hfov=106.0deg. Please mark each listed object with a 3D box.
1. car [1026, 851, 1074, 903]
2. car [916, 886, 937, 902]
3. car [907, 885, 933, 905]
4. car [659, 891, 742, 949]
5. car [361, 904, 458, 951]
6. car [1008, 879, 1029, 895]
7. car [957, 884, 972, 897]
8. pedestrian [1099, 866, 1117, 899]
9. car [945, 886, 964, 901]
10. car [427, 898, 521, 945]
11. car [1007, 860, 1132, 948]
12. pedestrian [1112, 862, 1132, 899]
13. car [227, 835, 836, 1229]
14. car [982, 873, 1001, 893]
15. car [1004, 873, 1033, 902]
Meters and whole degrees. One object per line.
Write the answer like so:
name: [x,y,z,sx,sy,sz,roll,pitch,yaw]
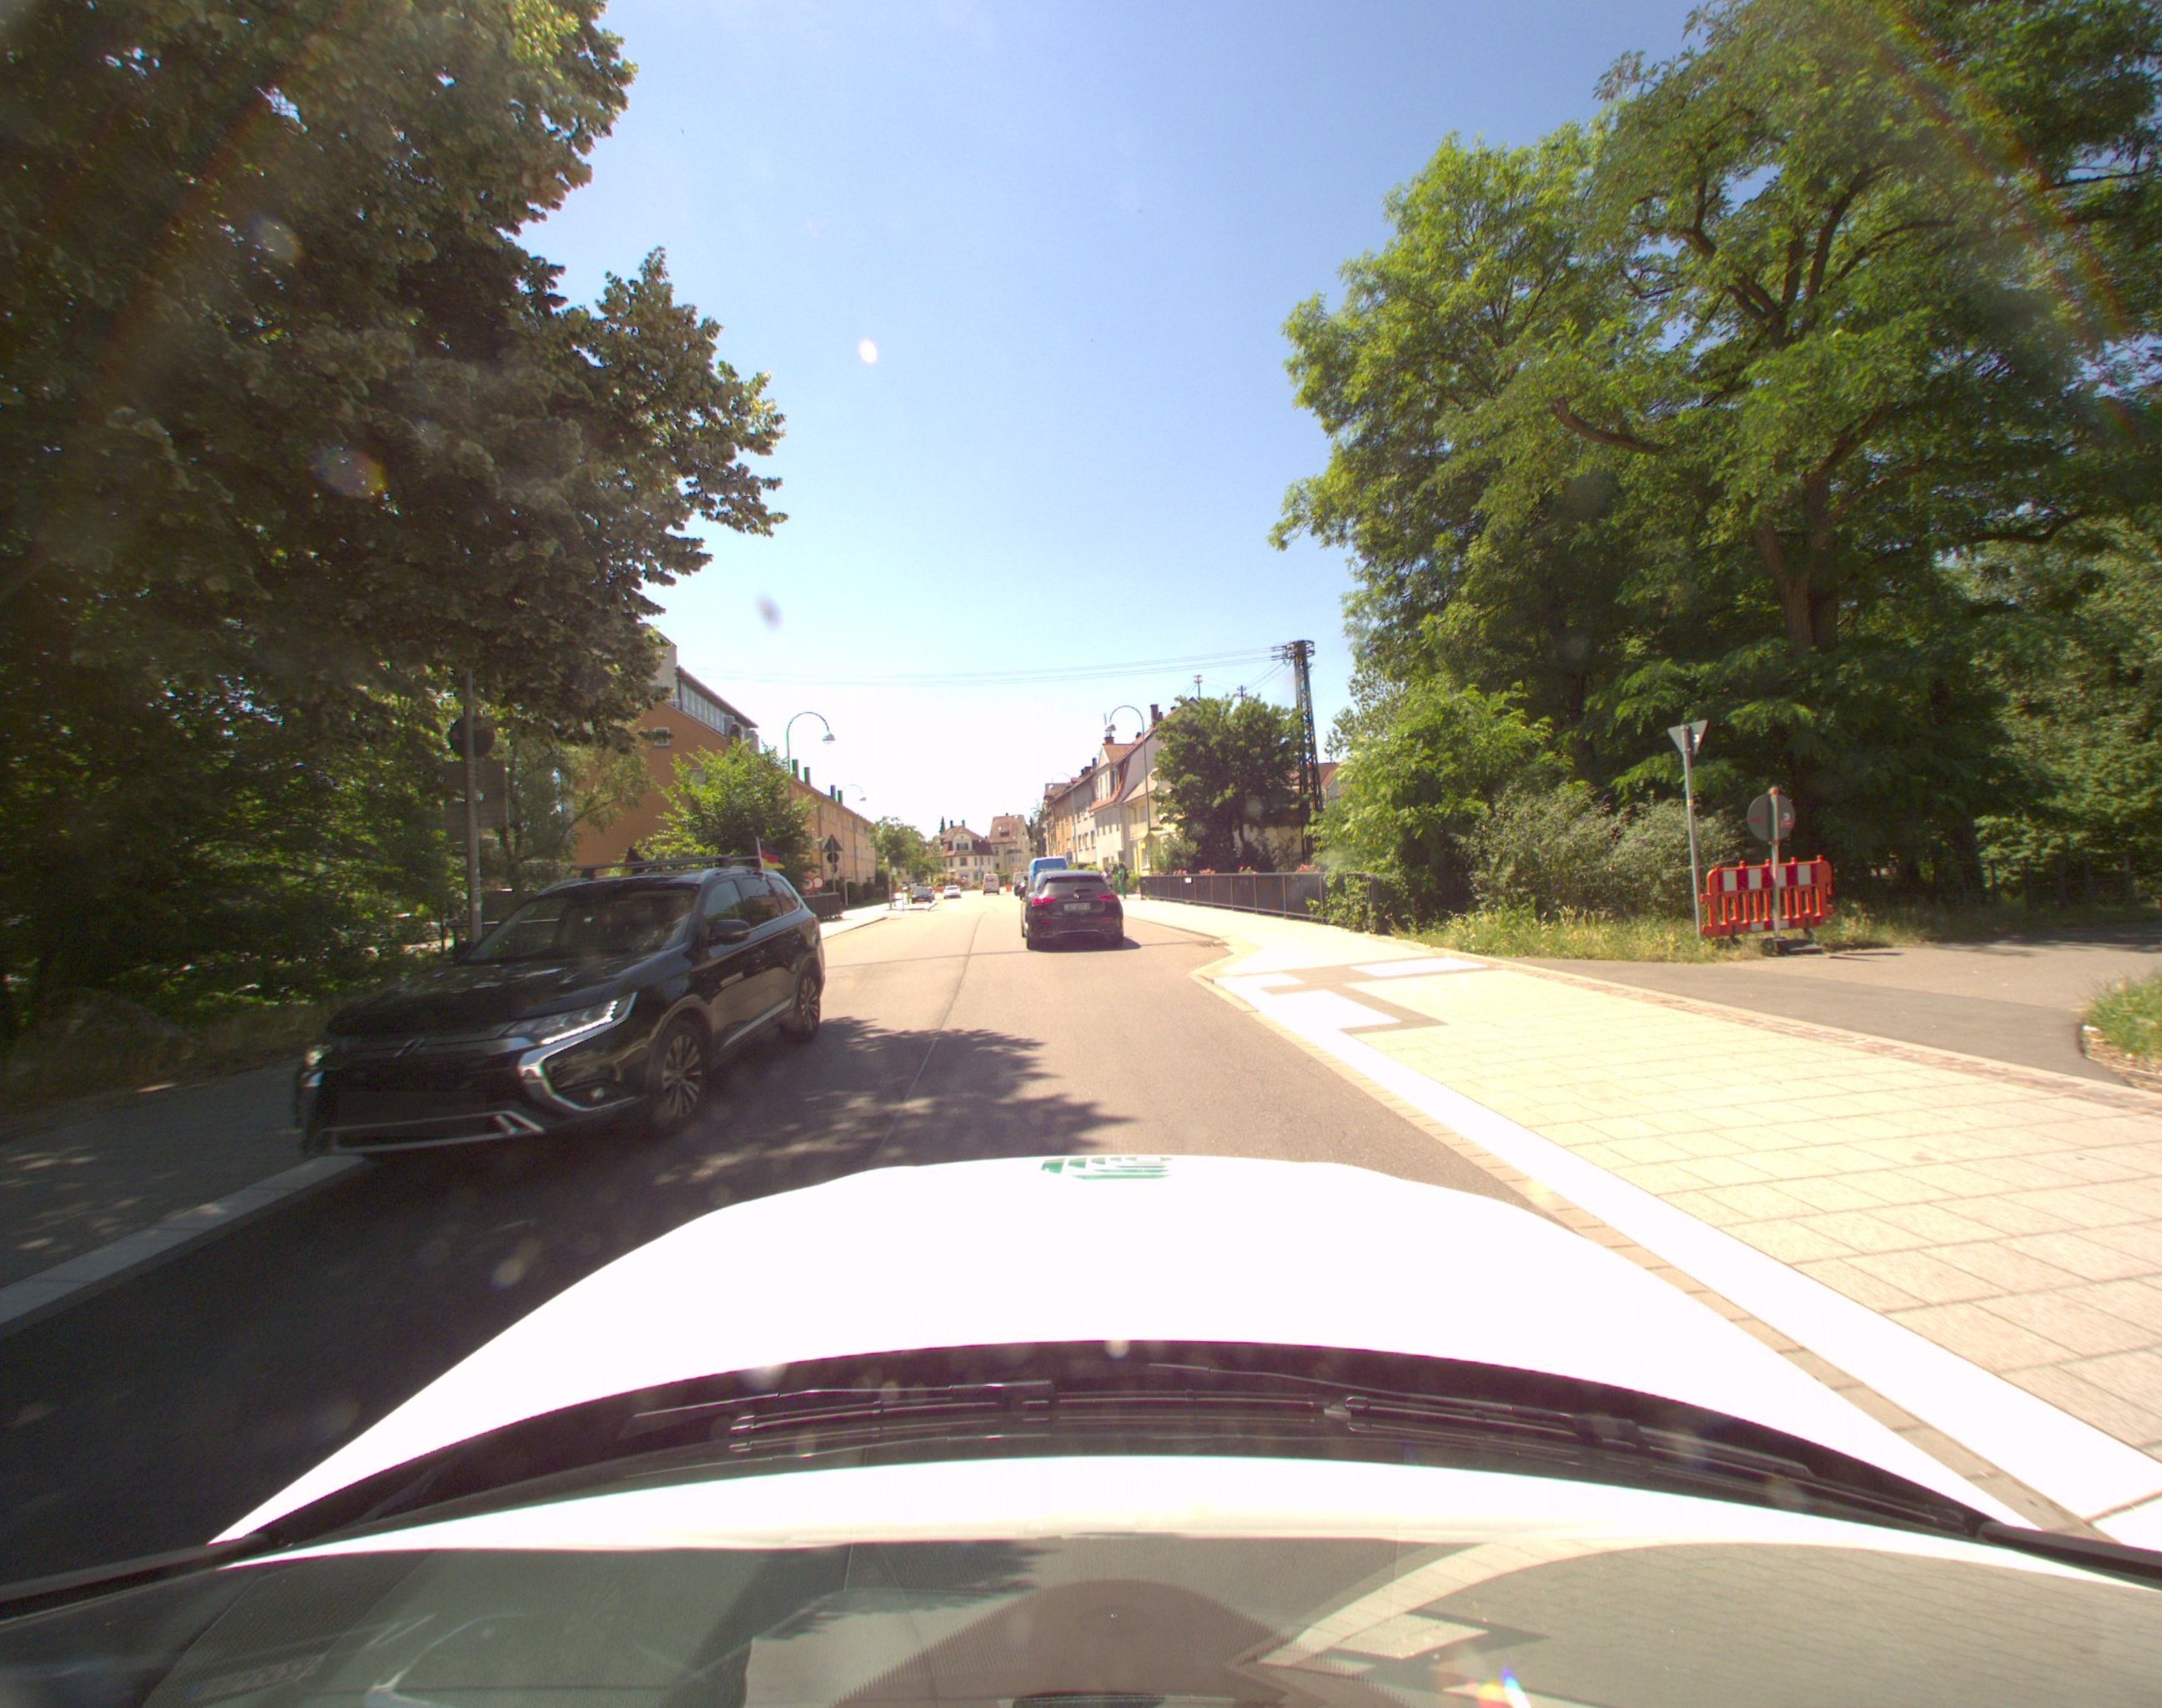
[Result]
car: [-1.756,1.265,44.419,2.131,2.541,4.638,-3,-2,-6]
car: [-17.056,4.373,90.302,1.992,1.660,3.990,-1,-2,-7]
car: [-14.453,3.663,73.438,1.992,1.660,3.990,-1,-2,-7]
car: [-15.615,2.650,33.675,1.993,2.013,3.987,-3,-1,-9]
car: [-34.027,3.668,41.404,1.993,2.014,3.987,-3,-2,-9]
car: [-6.559,3.438,85.177,1.992,1.392,4.317,-3,-1,-8]
car: [-15.851,4.947,111.004,1.992,1.660,3.990,-1,-2,-7]
pedestrian: [1.341,1.423,40.806,0.614,1.613,0.834,-3,-2,-12]
car: [-14.441,4.509,92.945,1.992,1.660,3.990,-1,-2,-7]
car: [-30.946,3.393,41.679,1.991,2.014,3.992,-3,-1,-6]
car: [-0.379,1.018,16.258,1.828,1.442,3.985,-3,-4,-10]
pedestrian: [2.022,1.295,39.997,0.664,1.741,0.696,-2,-2,-25]
car: [-3.338,0.896,6.171,1.737,1.772,4.332,-5,-1,-3]
car: [-11.267,3.589,102.144,2.243,2.343,4.840,-2,0,-7]
car: [-4.975,2.593,63.994,1.992,2.013,3.989,-3,-1,-8]
